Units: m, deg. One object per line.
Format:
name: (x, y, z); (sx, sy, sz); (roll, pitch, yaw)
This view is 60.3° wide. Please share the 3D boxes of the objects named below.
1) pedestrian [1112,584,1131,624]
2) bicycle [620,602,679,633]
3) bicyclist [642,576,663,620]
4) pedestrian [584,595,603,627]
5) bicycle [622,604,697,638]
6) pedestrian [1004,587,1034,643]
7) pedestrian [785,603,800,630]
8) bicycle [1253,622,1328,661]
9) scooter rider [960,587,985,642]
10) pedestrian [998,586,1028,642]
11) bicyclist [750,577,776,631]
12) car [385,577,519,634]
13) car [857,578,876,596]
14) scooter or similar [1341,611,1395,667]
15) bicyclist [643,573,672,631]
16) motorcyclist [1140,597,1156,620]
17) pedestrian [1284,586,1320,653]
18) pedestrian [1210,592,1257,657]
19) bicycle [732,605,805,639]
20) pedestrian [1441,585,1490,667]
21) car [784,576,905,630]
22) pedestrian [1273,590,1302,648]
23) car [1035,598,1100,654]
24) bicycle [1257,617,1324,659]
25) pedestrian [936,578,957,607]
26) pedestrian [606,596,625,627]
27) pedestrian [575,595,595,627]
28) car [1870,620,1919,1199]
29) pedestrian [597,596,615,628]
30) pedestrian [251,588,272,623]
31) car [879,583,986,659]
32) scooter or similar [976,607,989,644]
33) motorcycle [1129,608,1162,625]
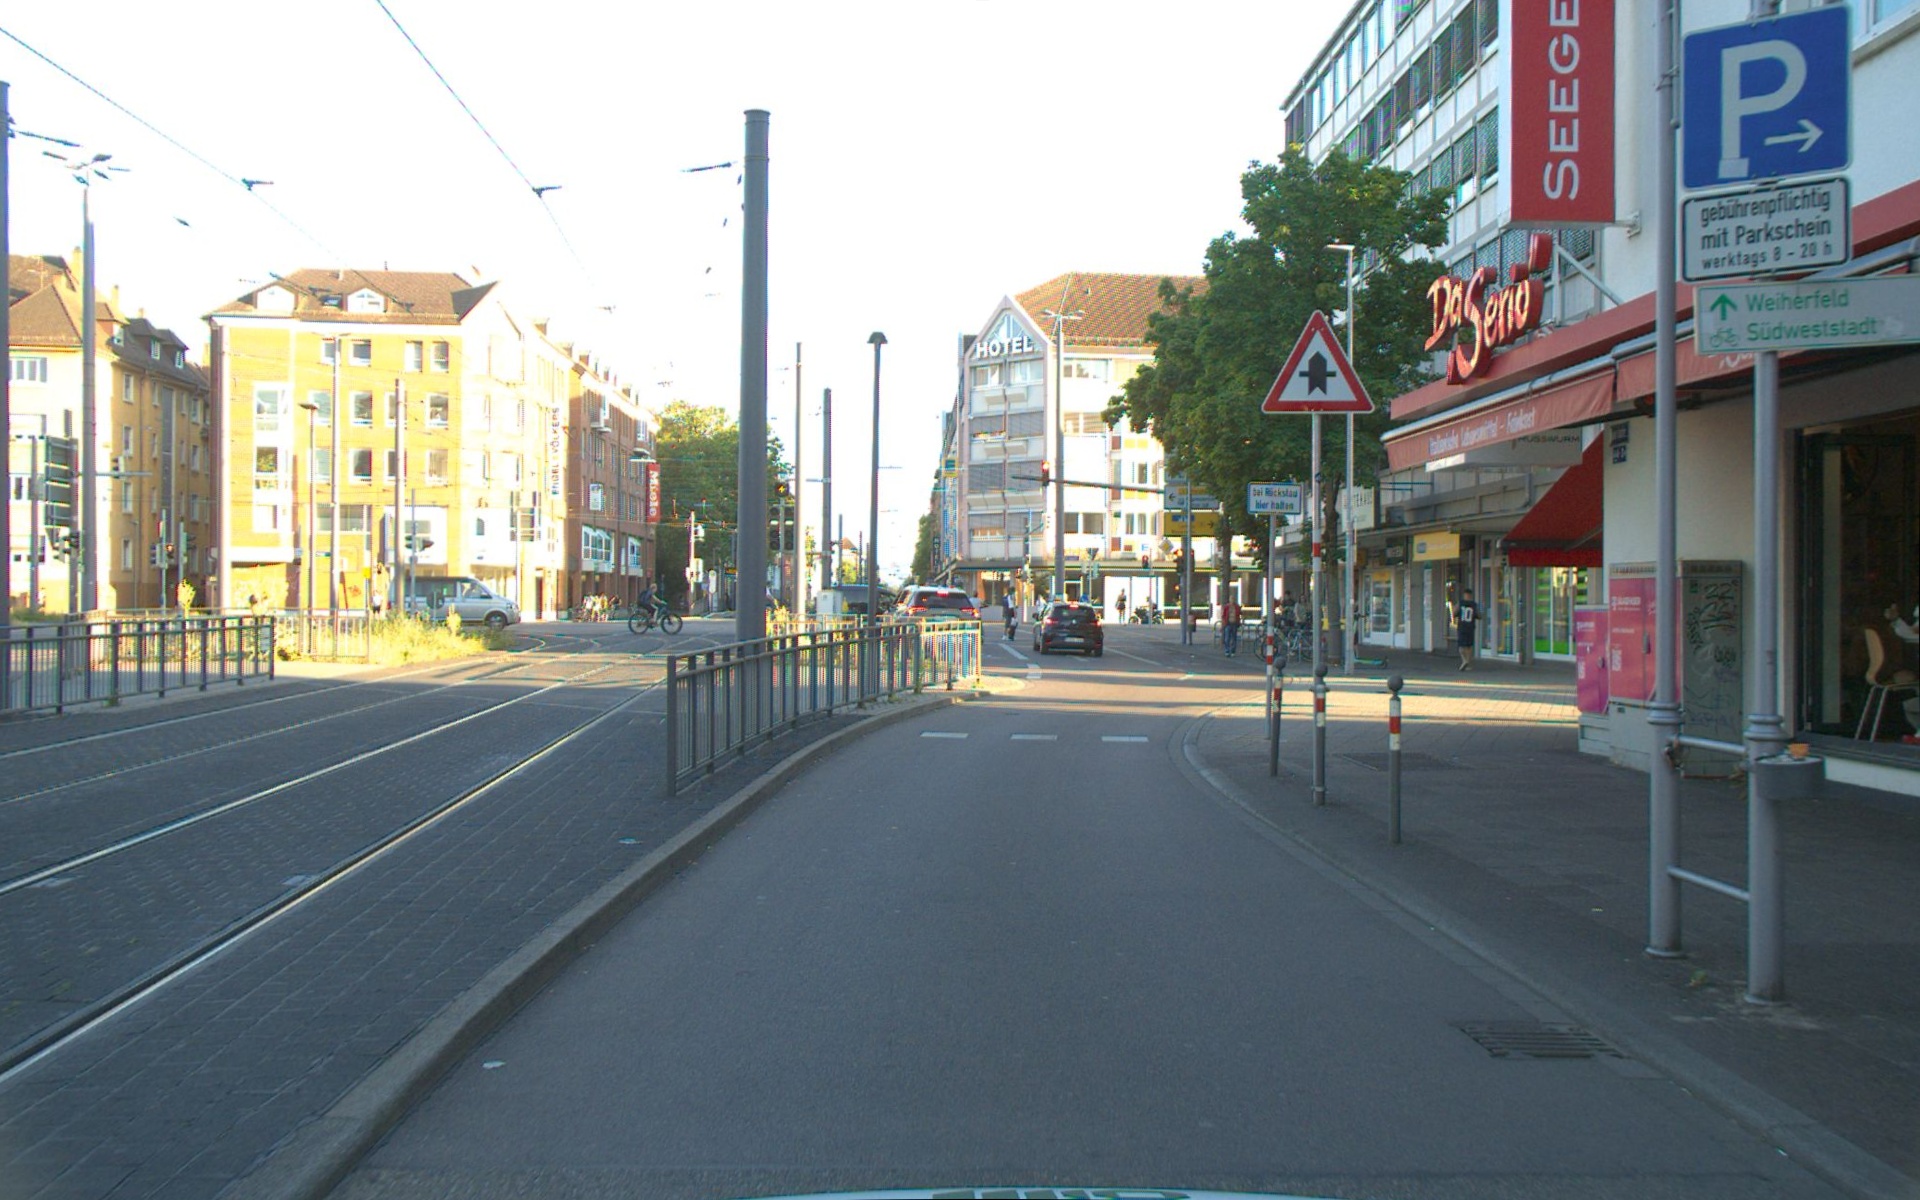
pedestrian: (7.426, 0.170, 76.031); (0.731, 1.809, 0.800); (2, -1, 0)
bicycle: (-10.920, 0.618, 58.242); (1.998, 1.046, 0.416); (1, 0, -8)
bicyclist: (-10.840, -0.073, 58.249); (0.691, 1.538, 0.548); (-1, 0, -12)
pedestrian: (-24.263, 0.732, 109.516); (1.072, 2.049, 0.908); (2, -1, -5)
bicycle: (-10.738, 0.746, 59.161); (2.603, 1.119, 0.432); (2, -1, -22)
pedestrian: (2.006, 0.518, 56.238); (0.974, 1.862, 0.729); (2, -1, 1)
pedestrian: (-10.681, 1.039, 105.603); (0.788, 1.693, 0.704); (2, -1, 6)
bicycle: (8.275, 1.040, 41.486); (1.779, 0.907, 0.415); (2, -1, 5)
scooter rider: (0.381, 0.448, 51.077); (0.648, 1.676, 0.661); (2, -1, 6)
pedestrian: (1.818, 0.483, 57.038); (0.974, 1.862, 0.729); (2, -1, 0)
bicyclist: (-7.158, 0.158, 60.013); (0.844, 1.911, 0.645); (2, -1, -9)
car: (-18.596, 0.185, 60.665); (4.609, 2.049, 1.991); (0, 0, -17)
car: (-10.873, -1.538, 192.581); (1.953, 1.934, 3.999); (2, -1, -1)
scooter or similar: (9.105, 0.869, 36.913); (1.200, 1.239, 0.292); (-1, -3, 44)
bicyclist: (-10.829, 0.076, 59.111); (0.848, 2.049, 0.642); (2, -1, -22)
motorcyclist: (10.563, 0.487, 92.774); (0.690, 1.242, 0.787); (2, -1, -8)
pedestrian: (9.544, 0.544, 46.163); (0.731, 1.809, 0.973); (2, -1, -1)
pedestrian: (7.353, 0.651, 44.494); (0.811, 1.714, 1.043); (2, -1, -18)
bicycle: (-6.937, 0.805, 60.066); (2.591, 1.119, 0.435); (2, -1, -8)
pedestrian: (10.891, 0.562, 35.662); (0.731, 1.713, 0.894); (2, -1, -1)
car: (-4.554, 0.104, 64.927); (4.483, 2.072, 1.993); (0, 0, -15)
pedestrian: (10.404, 0.616, 52.571); (0.731, 1.809, 0.800); (2, -1, 0)
car: (2.967, 0.699, 46.312); (1.727, 1.465, 4.002); (0, 0, 3)
bicycle: (8.482, 0.974, 42.446); (1.622, 0.991, 0.386); (2, -1, 5)
pedestrian: (-0.831, -0.485, 102.520); (0.927, 1.756, 0.839); (3, -1, -43)
pedestrian: (-23.445, 0.801, 112.628); (1.072, 2.049, 1.162); (2, -1, -4)
pedestrian: (-24.415, 0.705, 107.631); (1.072, 2.049, 0.908); (2, -1, -5)
car: (3.315, 0.787, 1.936); (1.754, 1.437, 4.685); (2, 0, -2)
pedestrian: (-23.207, 0.763, 108.456); (0.957, 2.049, 0.908); (2, -1, -5)
pedestrian: (-36.181, 0.305, 85.700); (0.673, 1.773, 0.668); (1, -1, 10)
car: (-0.711, 0.465, 38.674); (1.802, 1.665, 4.079); (1, 0, -11)
scooter or similar: (0.692, 0.788, 51.198); (0.273, 1.110, 1.257); (2, -1, 4)
motorcycle: (10.413, 0.934, 92.762); (1.798, 0.924, 0.431); (2, -1, -7)
